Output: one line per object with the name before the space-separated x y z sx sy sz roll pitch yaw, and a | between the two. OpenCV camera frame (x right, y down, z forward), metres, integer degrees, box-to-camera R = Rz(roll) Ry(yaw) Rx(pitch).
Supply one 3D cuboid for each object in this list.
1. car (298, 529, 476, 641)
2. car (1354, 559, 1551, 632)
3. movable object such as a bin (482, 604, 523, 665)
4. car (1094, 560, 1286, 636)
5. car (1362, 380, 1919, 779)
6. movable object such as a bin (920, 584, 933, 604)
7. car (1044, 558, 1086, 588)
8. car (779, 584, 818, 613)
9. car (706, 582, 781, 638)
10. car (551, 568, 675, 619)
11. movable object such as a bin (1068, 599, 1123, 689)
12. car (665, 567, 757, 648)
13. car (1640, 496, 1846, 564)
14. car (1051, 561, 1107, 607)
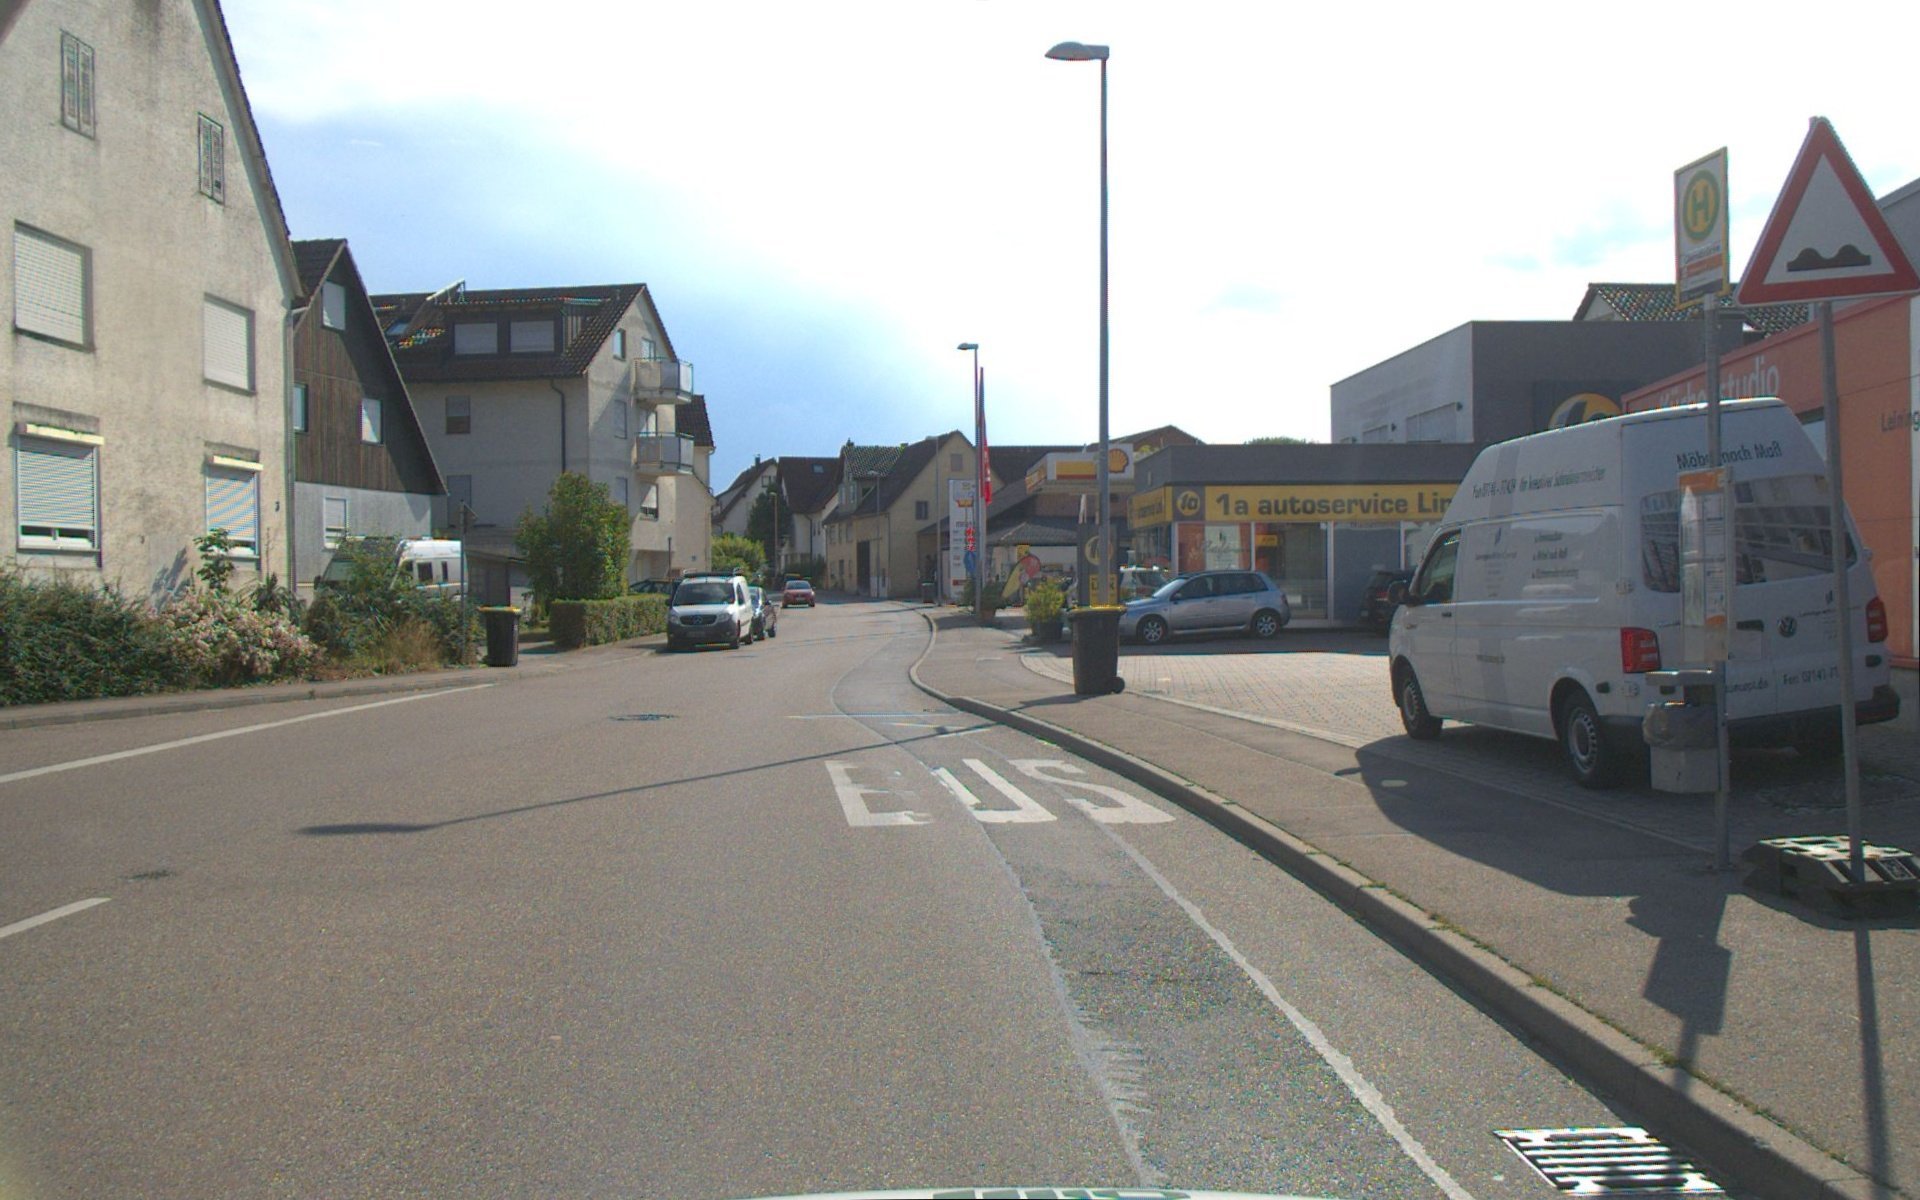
car | -14.456 -0.403 42.175 2.113 2.641 6.097 0 1 3
car | 10.819 -0.119 36.481 3.828 1.493 1.715 -1 2 -5
movable object such as a bin | -8.531 0.633 30.846 0.598 1.120 0.576 0 -1 -1
car | 5.049 -0.055 36.441 3.914 1.558 1.524 -1 1 -10
car | 4.847 -0.158 12.776 1.800 2.416 5.173 -1 1 -5
movable object such as a bin | -1.860 -0.315 91.945 0.640 1.092 0.512 -1 1 -5
car | 5.126 -1.336 81.308 1.546 1.452 4.378 0 1 -3
car | -8.975 -0.092 91.851 1.679 1.459 3.769 -3 1 -12
car | -6.158 0.250 47.302 1.638 1.477 3.834 -2 1 -1
car | -12.449 -0.258 59.405 3.903 1.565 1.764 4 2 10
movable object such as a bin | 1.702 0.546 20.821 0.556 1.094 0.572 -2 1 -6
car | -6.239 0.152 41.845 1.681 1.905 4.192 -2 1 -1
car | 17.442 -1.558 36.931 3.828 1.433 1.715 -1 2 -5
car | 4.388 -0.614 61.256 1.638 1.605 3.997 -1 1 -2
